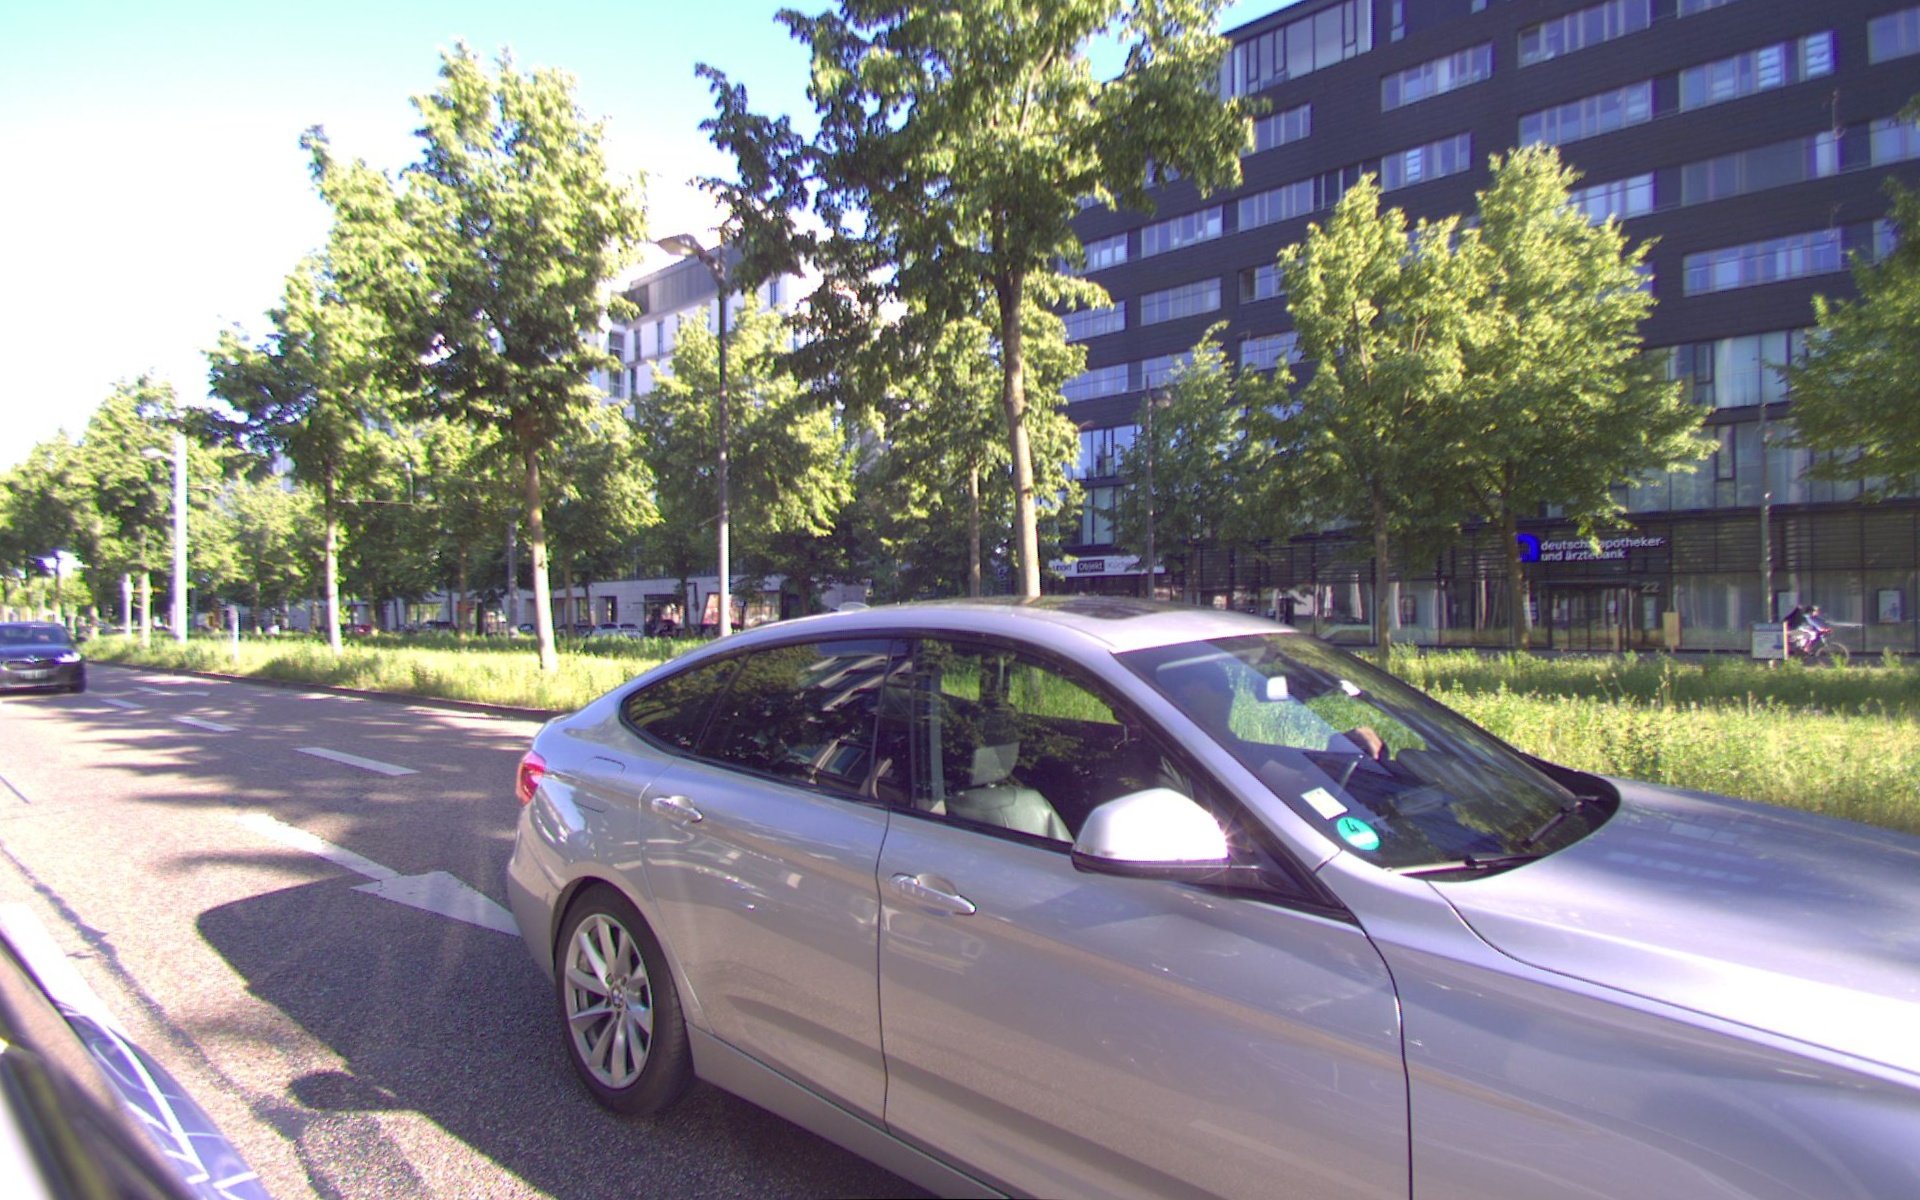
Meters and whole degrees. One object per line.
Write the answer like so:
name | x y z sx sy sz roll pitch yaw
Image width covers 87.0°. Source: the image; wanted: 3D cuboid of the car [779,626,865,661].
car | -6.768 2.083 49.382 4.182 1.609 1.926 -2 -1 41

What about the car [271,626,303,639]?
car | -72.535 3.515 109.055 3.998 1.406 1.972 -2 -2 41

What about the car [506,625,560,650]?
car | -29.731 2.600 70.461 4.182 1.609 1.859 -2 -1 41

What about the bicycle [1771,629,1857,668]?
bicycle | 23.306 1.306 27.652 1.755 1.043 0.472 -1 -2 41

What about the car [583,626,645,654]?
car | -21.614 2.474 63.170 4.182 1.609 1.859 -2 -1 41

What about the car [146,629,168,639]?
car | -114.630 4.834 144.486 4.001 1.406 1.971 -2 -2 44

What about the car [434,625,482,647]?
car | -38.672 2.747 77.968 4.182 1.609 1.859 -2 -1 41

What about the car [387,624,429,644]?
car | -46.589 2.864 85.370 4.182 1.609 1.859 -2 -1 41

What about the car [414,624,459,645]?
car | -42.134 2.794 81.474 4.182 1.609 1.859 -2 -1 41

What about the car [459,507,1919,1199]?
car | 0.642 0.679 2.574 4.558 1.495 1.800 -1 -1 40

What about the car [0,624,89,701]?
car | -20.085 1.273 21.517 3.998 1.502 1.837 -1 -1 41

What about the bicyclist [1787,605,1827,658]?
bicyclist | 23.215 0.850 27.742 0.820 1.435 0.472 -2 -2 41

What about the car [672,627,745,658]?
car | -14.021 2.321 56.258 4.182 1.609 1.926 -2 -1 41

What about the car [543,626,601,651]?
car | -25.702 2.535 67.049 4.182 1.609 1.859 -2 -1 41

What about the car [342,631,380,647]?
car | -54.518 3.528 92.044 4.001 1.406 1.971 -2 -2 44
